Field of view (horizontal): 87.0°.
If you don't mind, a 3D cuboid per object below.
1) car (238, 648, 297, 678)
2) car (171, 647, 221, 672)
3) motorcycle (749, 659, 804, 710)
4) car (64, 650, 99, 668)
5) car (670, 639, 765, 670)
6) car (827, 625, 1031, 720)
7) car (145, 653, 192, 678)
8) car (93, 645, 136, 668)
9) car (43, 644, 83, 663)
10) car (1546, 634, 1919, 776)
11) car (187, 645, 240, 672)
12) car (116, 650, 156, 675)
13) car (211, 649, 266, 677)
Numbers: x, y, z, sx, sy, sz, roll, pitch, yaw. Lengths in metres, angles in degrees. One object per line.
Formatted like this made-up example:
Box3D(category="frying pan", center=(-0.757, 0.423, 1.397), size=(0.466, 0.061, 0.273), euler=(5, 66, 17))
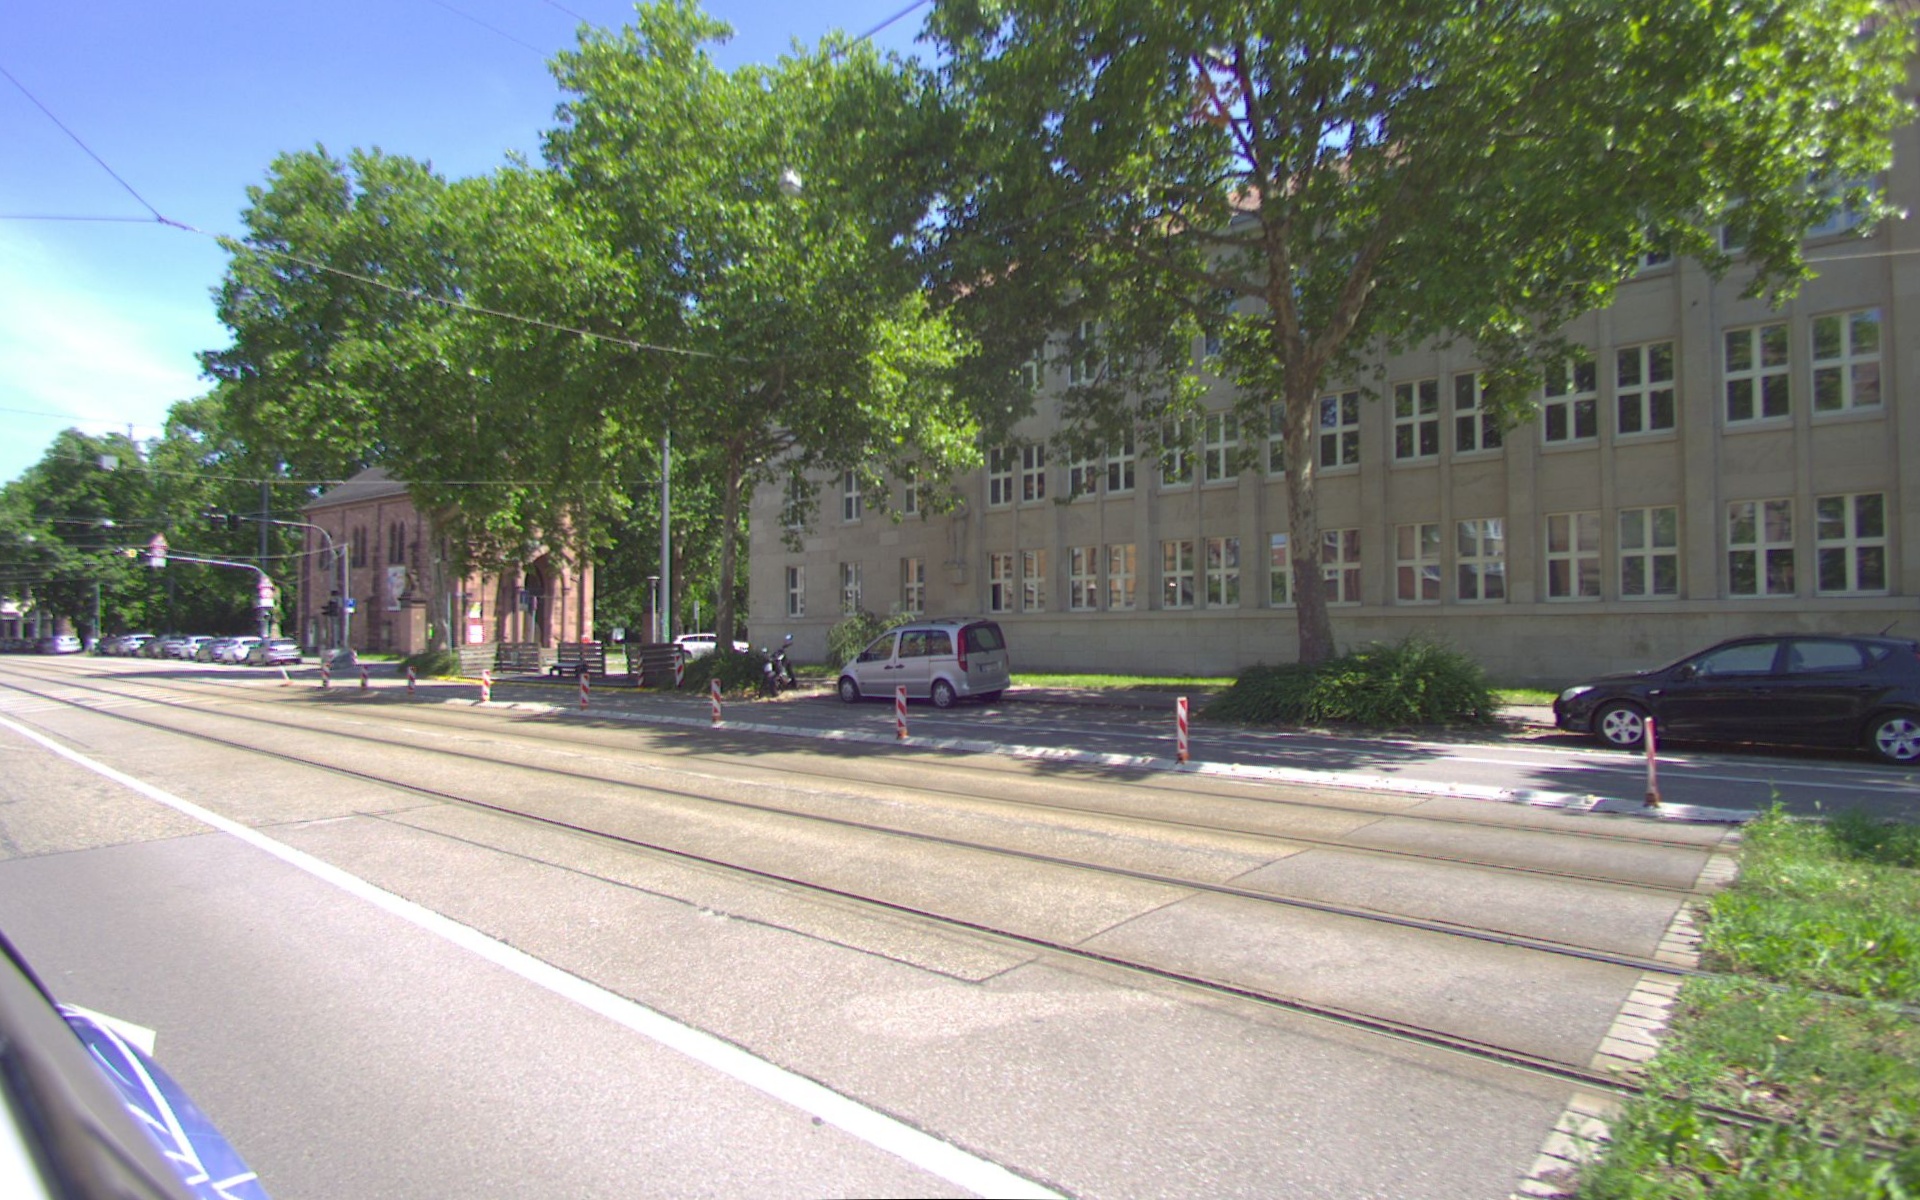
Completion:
Box3D(category="car", center=(-36.841, 3.306, 53.807), size=(4.219, 1.470, 1.641), euler=(-2, -2, 41))
Box3D(category="car", center=(-48.105, 3.726, 63.704), size=(3.750, 1.470, 1.725), euler=(-2, -2, 40))
Box3D(category="motorcycle", center=(-4.494, 2.055, 24.906), size=(0.719, 1.076, 1.866), euler=(-1, 0, 10))
Box3D(category="car", center=(-72.950, 4.858, 83.988), size=(3.762, 1.390, 1.629), euler=(-2, -2, 40))
Box3D(category="car", center=(-12.657, 2.848, 52.961), size=(4.480, 1.520, 1.911), euler=(-1, -1, 6))
Box3D(category="car", center=(-0.762, 1.503, 22.067), size=(4.300, 1.824, 1.972), euler=(-2, -2, 43))
Box3D(category="car", center=(-52.435, 4.304, 67.059), size=(3.750, 1.535, 1.725), euler=(-2, -2, 40))
Box3D(category="car", center=(-66.561, 4.427, 79.633), size=(3.998, 1.730, 1.973), euler=(-2, -2, 41))
Box3D(category="car", center=(-78.289, 4.614, 88.290), size=(3.994, 1.575, 1.953), euler=(-2, -2, 38))
Box3D(category="car", center=(9.898, 1.192, 12.512), size=(4.322, 1.494, 1.744), euler=(-2, -2, 42))
Box3D(category="car", center=(-44.535, 3.467, 60.349), size=(4.055, 1.470, 1.641), euler=(-2, -2, 40))
Box3D(category="car", center=(-60.316, 4.555, 74.079), size=(3.904, 1.665, 1.724), euler=(-2, -2, 42))
Box3D(category="car", center=(-40.644, 3.513, 57.009), size=(4.056, 1.470, 1.641), euler=(-2, -2, 41))
